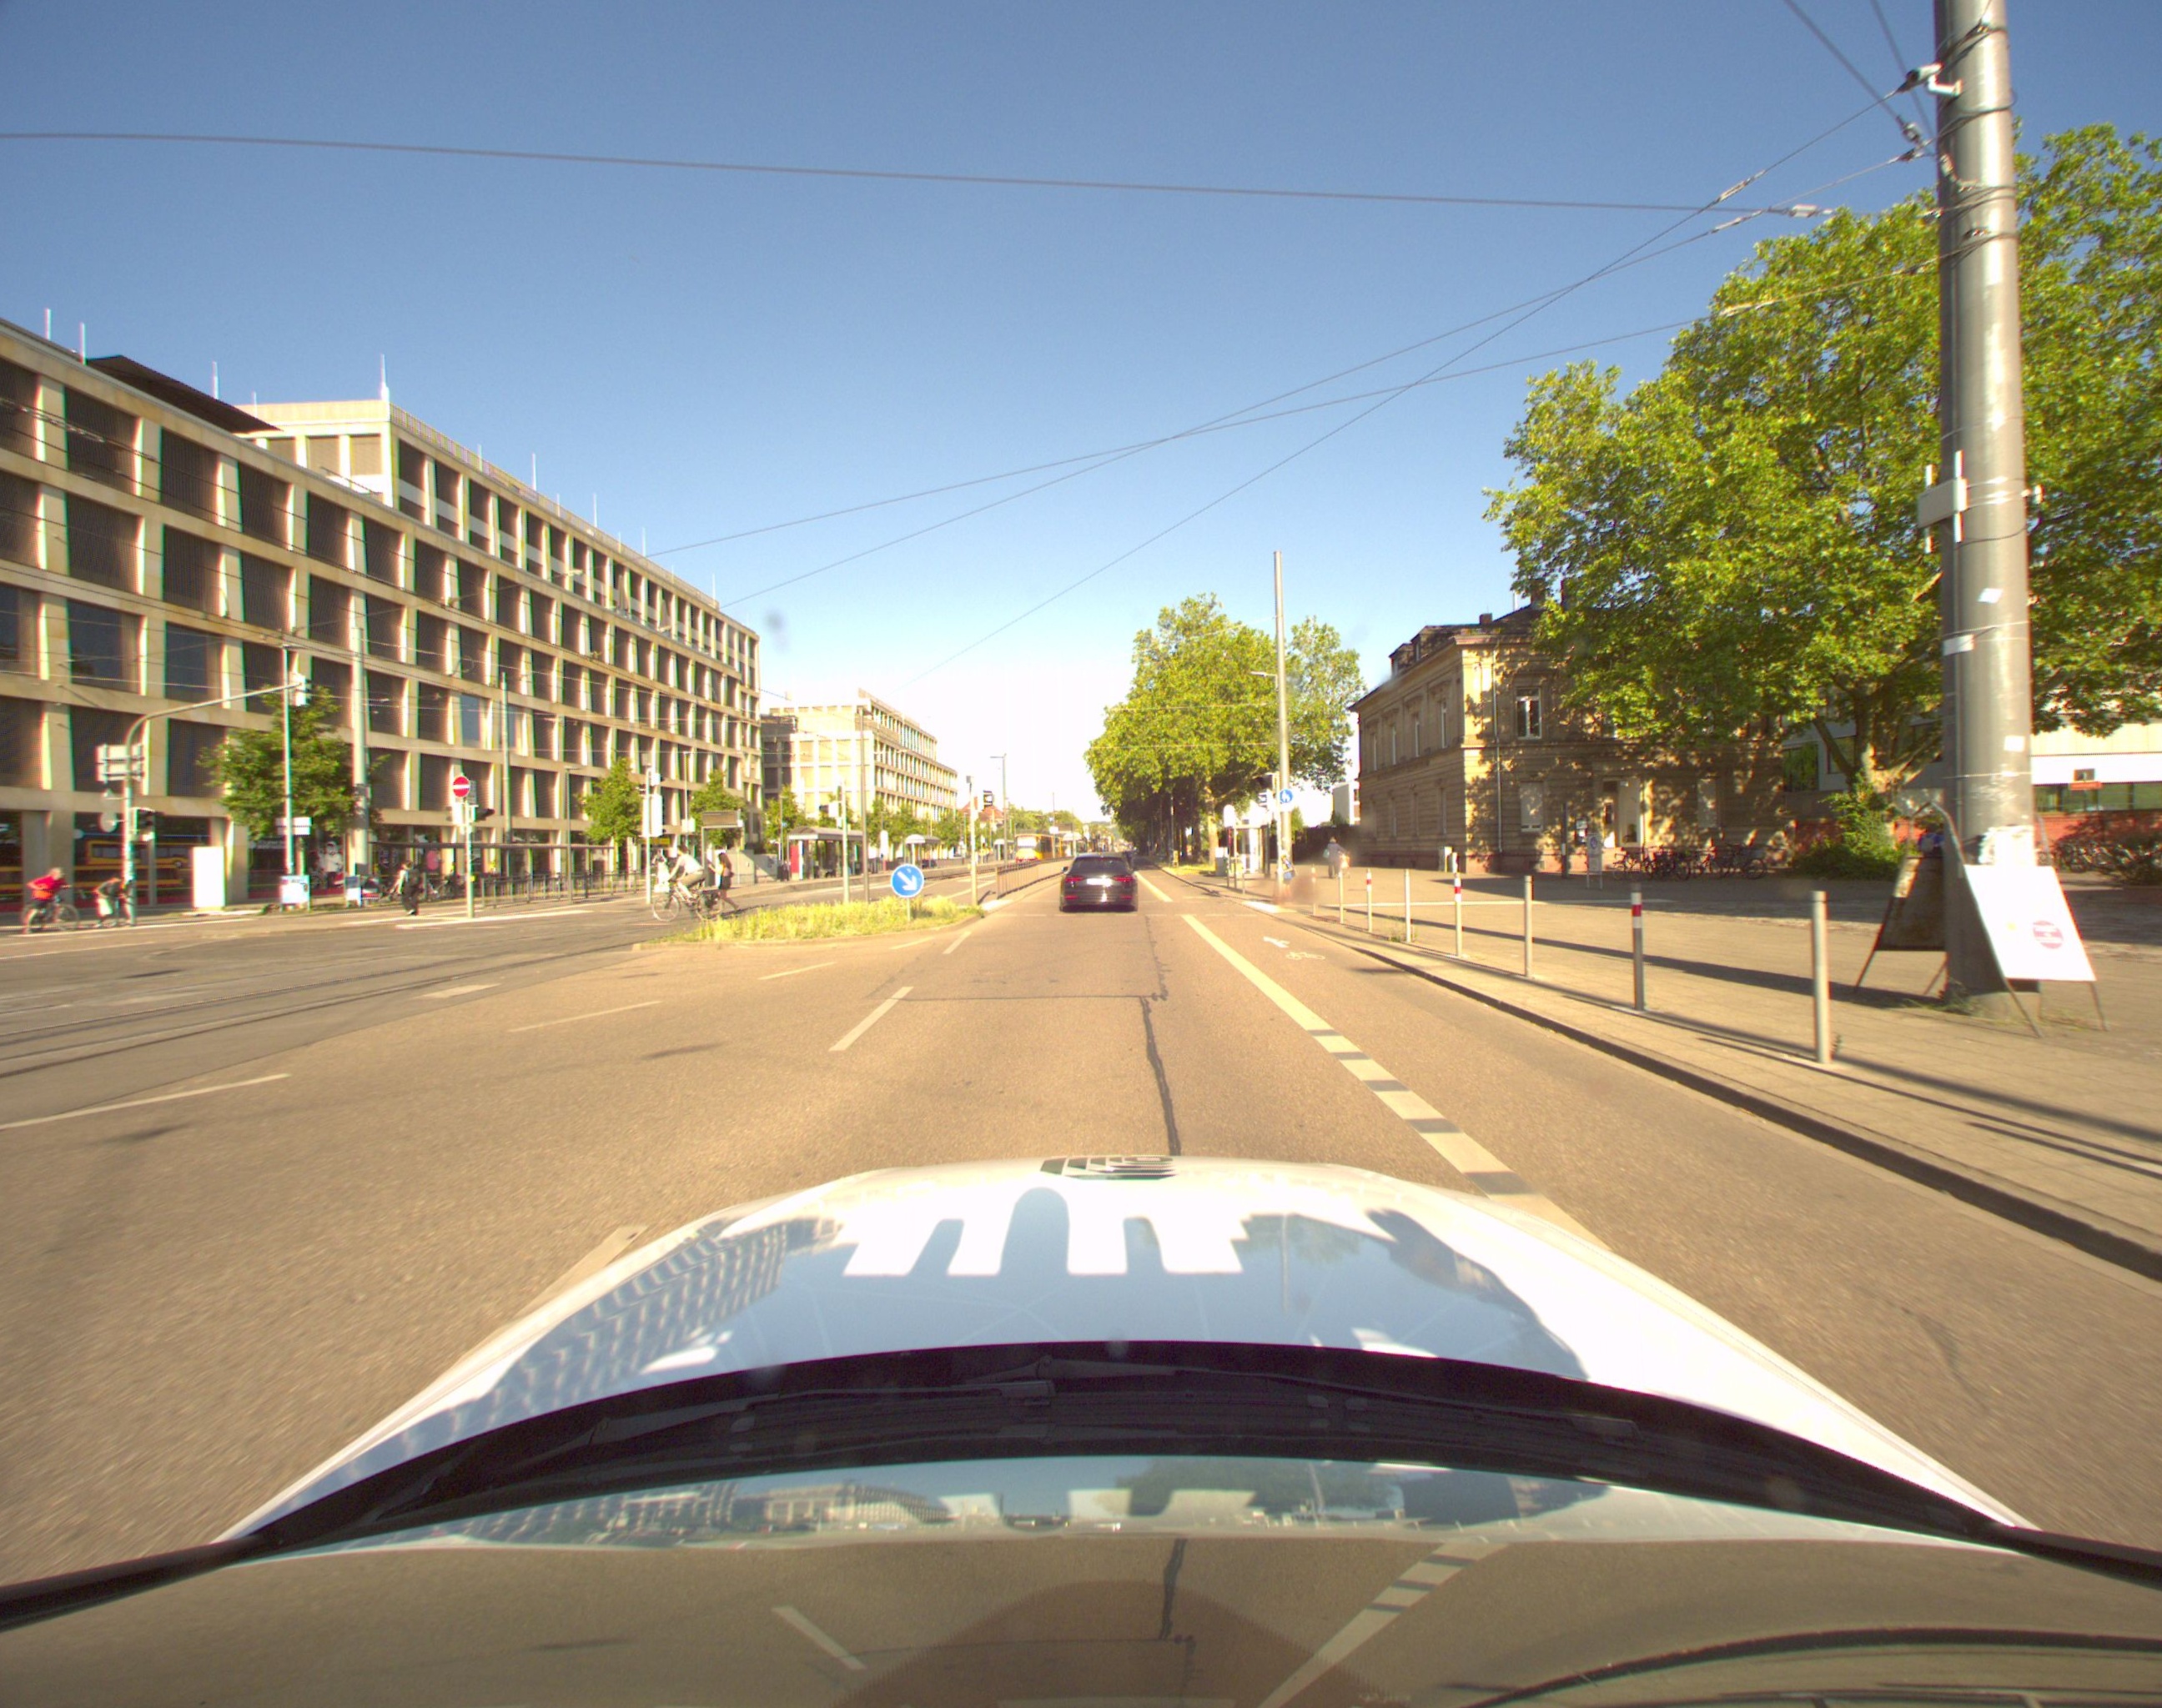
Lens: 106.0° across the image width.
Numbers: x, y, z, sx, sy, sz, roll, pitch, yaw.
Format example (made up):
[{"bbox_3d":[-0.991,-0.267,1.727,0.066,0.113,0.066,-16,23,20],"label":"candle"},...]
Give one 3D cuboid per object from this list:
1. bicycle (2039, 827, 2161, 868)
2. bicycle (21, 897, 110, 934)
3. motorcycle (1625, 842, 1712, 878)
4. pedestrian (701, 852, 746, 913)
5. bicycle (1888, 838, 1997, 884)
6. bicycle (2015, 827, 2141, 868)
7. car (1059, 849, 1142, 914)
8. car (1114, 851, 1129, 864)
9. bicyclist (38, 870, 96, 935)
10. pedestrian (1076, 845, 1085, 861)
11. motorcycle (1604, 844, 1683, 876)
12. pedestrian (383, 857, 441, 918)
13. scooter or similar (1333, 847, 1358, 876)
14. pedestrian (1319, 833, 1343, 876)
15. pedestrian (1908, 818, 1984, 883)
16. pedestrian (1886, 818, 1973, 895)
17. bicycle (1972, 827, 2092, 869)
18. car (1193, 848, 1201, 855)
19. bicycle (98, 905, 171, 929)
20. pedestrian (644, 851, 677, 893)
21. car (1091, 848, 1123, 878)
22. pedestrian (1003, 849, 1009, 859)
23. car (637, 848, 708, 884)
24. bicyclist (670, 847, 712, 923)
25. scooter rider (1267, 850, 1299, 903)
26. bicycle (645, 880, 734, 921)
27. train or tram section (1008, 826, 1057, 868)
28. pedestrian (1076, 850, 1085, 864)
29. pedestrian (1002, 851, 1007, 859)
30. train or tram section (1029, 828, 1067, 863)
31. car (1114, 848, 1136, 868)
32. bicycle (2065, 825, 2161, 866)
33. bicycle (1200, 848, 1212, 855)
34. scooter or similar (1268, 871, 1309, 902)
[{"bbox_3d":[33.447,-0.205,26.759,0.777,1.278,2.667,-1,0,-1],"label":"bicycle"},{"bbox_3d":[-26.042,1.560,20.882,1.872,0.878,0.609,0,0,11],"label":"bicycle"},{"bbox_3d":[19.757,0.194,27.421,2.206,1.159,0.889,-1,0,10],"label":"motorcycle"},{"bbox_3d":[-9.887,0.769,22.536,0.930,1.644,0.793,-1,0,-10],"label":"pedestrian"},{"bbox_3d":[24.516,0.194,23.181,2.660,1.278,0.779,-1,-1,-10],"label":"bicycle"},{"bbox_3d":[32.418,-0.190,26.563,0.777,1.278,2.667,-1,0,-1],"label":"bicycle"},{"bbox_3d":[0.495,0.631,20.493,1.871,1.457,3.357,-1,0,1],"label":"car"},{"bbox_3d":[5.098,0.438,101.933,1.756,1.619,4.001,-1,0,1],"label":"car"},{"bbox_3d":[-25.961,1.225,20.862,0.624,1.618,0.686,-2,0,11],"label":"bicyclist"},{"bbox_3d":[-0.048,-0.116,75.946,0.742,1.508,0.667,-2,0,6],"label":"pedestrian"},{"bbox_3d":[19.567,0.207,28.357,2.064,1.103,0.889,-1,0,10],"label":"motorcycle"},{"bbox_3d":[-18.723,0.908,22.806,0.930,1.644,0.793,-1,0,-10],"label":"pedestrian"},{"bbox_3d":[11.042,0.301,34.067,0.717,1.156,0.759,-3,0,-3],"label":"scooter or similar"},{"bbox_3d":[10.424,0.021,33.963,0.762,1.744,0.801,-3,0,27],"label":"pedestrian"},{"bbox_3d":[24.446,-0.094,23.029,0.995,1.744,1.034,-3,0,-8],"label":"pedestrian"},{"bbox_3d":[20.758,0.063,19.949,0.995,1.788,1.034,-3,0,-8],"label":"pedestrian"},{"bbox_3d":[31.032,-0.179,26.656,0.777,1.278,2.667,-1,0,-1],"label":"bicycle"},{"bbox_3d":[25.607,-0.495,179.925,1.607,1.515,3.807,-1,0,4],"label":"car"},{"bbox_3d":[-25.542,1.692,21.975,1.710,0.609,0.513,-1,0,12],"label":"bicycle"},{"bbox_3d":[-17.246,0.725,33.392,0.790,1.644,0.934,-1,0,4],"label":"pedestrian"},{"bbox_3d":[1.527,0.492,47.898,1.756,1.619,4.001,-1,0,1],"label":"car"},{"bbox_3d":[-11.054,0.032,120.385,0.610,1.527,0.727,-1,0,12],"label":"pedestrian"},{"bbox_3d":[-23.777,0.658,47.592,1.986,2.013,4.001,-1,0,1],"label":"car"},{"bbox_3d":[-9.547,0.747,19.953,0.664,1.808,0.647,-1,0,-1],"label":"bicyclist"},{"bbox_3d":[5.372,0.587,21.699,0.698,1.397,0.600,-1,0,3],"label":"scooter rider"},{"bbox_3d":[-9.578,1.143,19.970,1.878,0.911,0.513,-2,-1,-2],"label":"bicycle"},{"bbox_3d":[-4.761,-0.655,83.379,3.295,3.829,14.232,-1,0,3],"label":"train or tram section"},{"bbox_3d":[-0.062,0.263,72.616,0.739,1.274,0.525,-2,0,3],"label":"pedestrian"},{"bbox_3d":[-11.065,0.138,117.921,0.611,1.260,0.726,-1,0,7],"label":"pedestrian"},{"bbox_3d":[-3.799,-0.969,96.593,3.295,3.829,11.854,-1,0,3],"label":"train or tram section"},{"bbox_3d":[3.798,0.351,70.588,1.756,1.619,4.001,-1,0,1],"label":"car"},{"bbox_3d":[34.336,-0.255,26.735,0.777,1.278,2.667,-1,0,-1],"label":"bicycle"},{"bbox_3d":[20.973,-0.396,136.648,1.766,1.120,0.440,-3,0,2],"label":"bicycle"},{"bbox_3d":[5.557,0.872,21.787,1.016,0.811,0.265,-1,0,3],"label":"scooter or similar"}]
